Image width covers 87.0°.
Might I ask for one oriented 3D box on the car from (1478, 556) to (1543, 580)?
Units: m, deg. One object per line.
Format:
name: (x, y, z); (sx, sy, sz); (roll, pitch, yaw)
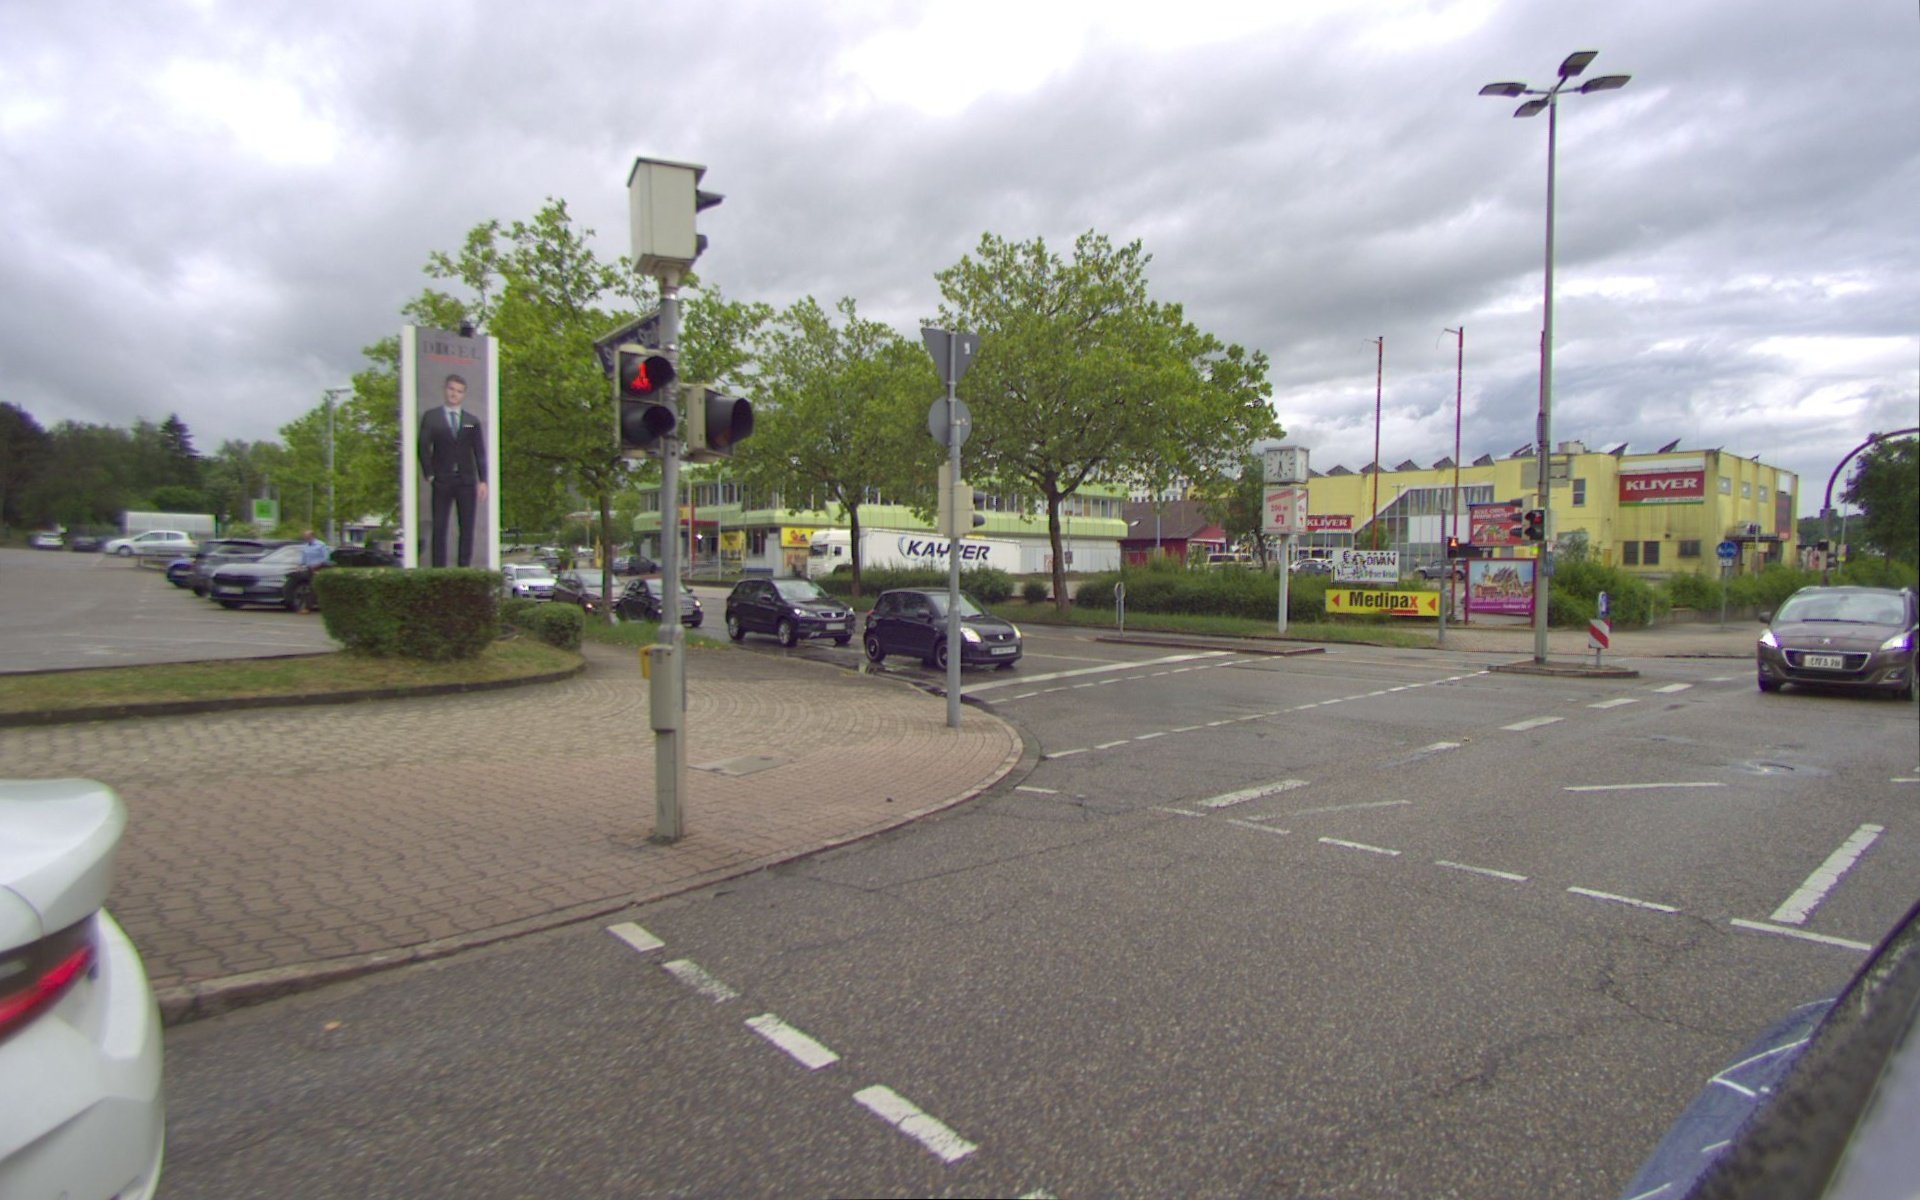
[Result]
car: (42.522, -2.480, 78.209); (1.965, 1.801, 3.994); (0, 2, -41)

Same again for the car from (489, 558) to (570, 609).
car: (-17.382, -0.709, 40.746); (1.890, 1.861, 4.339); (-1, 3, -39)

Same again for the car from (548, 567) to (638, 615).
car: (-12.918, -0.366, 35.502); (1.785, 1.465, 3.989); (-1, 4, -39)

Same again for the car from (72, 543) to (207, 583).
car: (-35.734, -1.584, 44.150); (1.930, 1.639, 4.372); (3, 2, 42)

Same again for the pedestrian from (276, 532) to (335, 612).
pedestrian: (-13.604, -0.584, 21.044); (0.791, 1.634, 0.718); (2, 1, 25)

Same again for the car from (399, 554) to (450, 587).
car: (-29.789, -1.645, 56.249); (1.785, 1.762, 3.989); (0, 2, -39)

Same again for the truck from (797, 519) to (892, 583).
truck: (-7.282, -3.008, 63.840); (5.044, 3.764, 3.158); (1, -1, -40)

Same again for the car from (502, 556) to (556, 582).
car: (-27.103, -1.930, 63.612); (1.965, 1.549, 3.994); (0, 2, -41)

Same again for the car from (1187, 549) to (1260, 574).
car: (20.097, -2.942, 77.360); (2.340, 1.801, 4.978); (0, 2, -41)

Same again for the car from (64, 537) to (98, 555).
car: (-83.861, -5.138, 96.573); (1.778, 1.618, 4.004); (1, 1, -31)

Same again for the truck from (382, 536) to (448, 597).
truck: (-23.675, -1.507, 43.904); (1.785, 2.515, 3.989); (-1, 3, -39)

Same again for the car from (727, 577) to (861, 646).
car: (-4.218, 0.240, 25.203); (1.705, 1.567, 4.154); (-1, 1, -34)

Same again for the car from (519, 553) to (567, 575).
car: (-29.084, -2.523, 70.524); (1.965, 1.460, 3.994); (0, 2, -41)

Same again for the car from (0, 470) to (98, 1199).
car: (-3.488, 0.633, 0.582); (4.540, 1.564, 1.804); (-1, 0, -42)

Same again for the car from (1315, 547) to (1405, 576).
car: (26.263, -2.544, 66.506); (2.340, 1.801, 4.978); (0, 2, -41)

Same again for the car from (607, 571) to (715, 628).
car: (-9.176, -0.072, 30.884); (1.785, 1.507, 3.989); (-1, 3, -39)

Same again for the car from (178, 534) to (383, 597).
car: (-16.956, -0.848, 25.537); (1.951, 1.397, 4.142); (-1, 1, 10)

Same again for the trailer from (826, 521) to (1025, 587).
trailer: (-1.961, -2.934, 68.272); (14.546, 3.763, 3.158); (1, -1, -40)

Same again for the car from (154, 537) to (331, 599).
car: (-23.177, -1.015, 32.981); (1.965, 1.815, 4.922); (-2, 1, 6)

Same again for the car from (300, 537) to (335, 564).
car: (-56.029, -4.339, 88.245); (1.965, 2.216, 3.995); (0, 2, -41)

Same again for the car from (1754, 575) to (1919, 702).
car: (13.834, 0.473, 15.509); (4.391, 1.644, 1.730); (-1, 2, -40)

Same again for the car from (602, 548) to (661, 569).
car: (-24.165, -3.025, 74.571); (1.981, 1.460, 3.962); (2, 2, 28)

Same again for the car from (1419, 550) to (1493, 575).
car: (35.823, -2.712, 73.183); (1.965, 1.760, 4.379); (0, 2, -41)

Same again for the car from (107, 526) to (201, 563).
car: (-43.481, -2.968, 54.696); (3.927, 1.816, 1.999); (0, 2, -39)

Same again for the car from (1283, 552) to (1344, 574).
car: (29.339, -3.109, 84.044); (1.965, 1.760, 4.379); (0, 2, -41)

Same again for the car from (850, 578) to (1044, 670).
car: (-0.362, 0.384, 20.248); (1.785, 1.507, 3.989); (-1, 3, -39)

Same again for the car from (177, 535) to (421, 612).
car: (-14.712, -0.610, 22.960); (1.965, 1.504, 5.004); (1, 2, 5)

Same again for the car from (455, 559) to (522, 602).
car: (-21.044, -0.901, 45.081); (1.785, 1.762, 3.989); (-1, 3, -39)

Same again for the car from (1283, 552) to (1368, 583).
car: (22.660, -2.037, 62.851); (1.965, 1.801, 4.575); (0, 2, -41)
